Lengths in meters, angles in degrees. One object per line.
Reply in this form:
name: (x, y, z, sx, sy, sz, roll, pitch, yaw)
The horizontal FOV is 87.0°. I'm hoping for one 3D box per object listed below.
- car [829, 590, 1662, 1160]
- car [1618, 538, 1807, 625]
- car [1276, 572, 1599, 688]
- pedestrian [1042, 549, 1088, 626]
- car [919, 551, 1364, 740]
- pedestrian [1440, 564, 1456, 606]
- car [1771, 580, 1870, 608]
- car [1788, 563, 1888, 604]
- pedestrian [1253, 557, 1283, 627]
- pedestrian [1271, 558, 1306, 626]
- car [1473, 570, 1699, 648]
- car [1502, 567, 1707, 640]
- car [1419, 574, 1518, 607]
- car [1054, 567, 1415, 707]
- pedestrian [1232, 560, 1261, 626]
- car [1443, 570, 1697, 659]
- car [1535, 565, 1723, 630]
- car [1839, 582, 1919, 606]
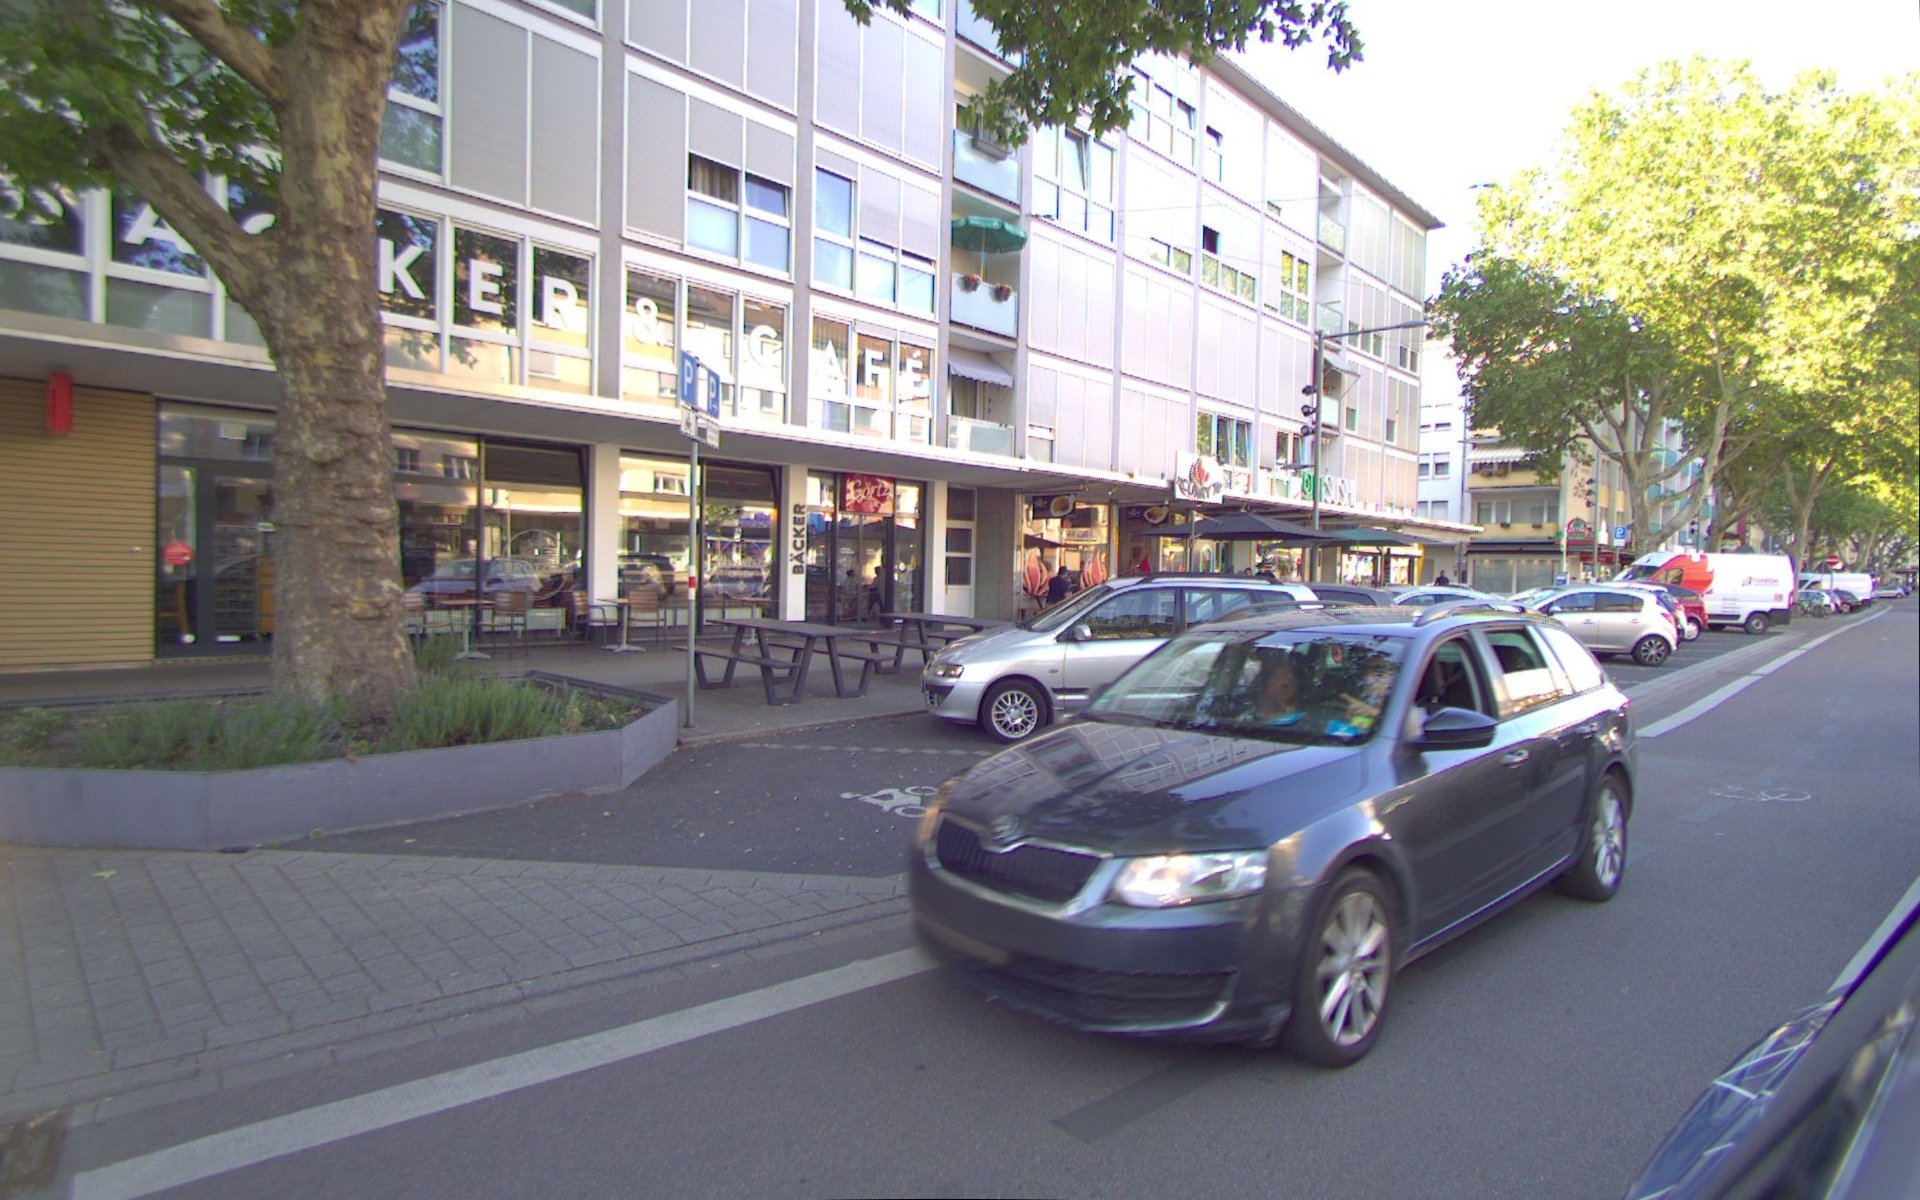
car: (1.609, 0.694, 4.659, 4.155, 1.470, 1.727, -1, 1, -41)
car: (23.737, -0.581, 32.056, 4.514, 2.525, 1.675, 2, 0, 5)
car: (6.844, 0.392, 14.783, 3.867, 1.418, 1.598, 2, 3, 1)
pedestrian: (2.225, -0.272, 21.411, 0.757, 1.602, 0.583, 0, 2, -39)
car: (1.594, 0.376, 9.844, 3.906, 1.560, 1.679, 2, 3, -3)
pedestrian: (20.126, -0.623, 41.742, 0.473, 1.751, 0.347, 1, 1, 11)
car: (48.123, -0.348, 56.644, 3.864, 1.422, 1.782, 1, 2, 3)
car: (56.461, -1.073, 65.162, 4.512, 2.499, 1.977, 1, 2, 3)
pedestrian: (7.812, -0.204, 25.700, 0.544, 1.741, 0.450, 2, 2, 45)
pedestrian: (7.866, -0.204, 24.225, 0.559, 1.596, 0.632, 2, 2, 44)
car: (13.904, 0.152, 22.729, 3.886, 1.446, 1.670, 3, 3, 16)
car: (15.897, 0.049, 25.198, 3.888, 1.445, 1.669, 4, 5, 17)
car: (24.910, -0.488, 49.624, 3.984, 1.437, 1.970, 3, 2, 41)
car: (3.222, 0.399, 12.382, 3.864, 1.446, 1.679, 2, 3, -3)
pedestrian: (7.363, -0.187, 26.035, 0.536, 1.660, 0.470, 2, 2, 45)
car: (11.833, 0.242, 19.820, 3.871, 1.446, 1.559, 3, 3, 4)
car: (18.136, -0.119, 27.651, 3.894, 1.445, 1.667, 4, 5, 21)
car: (56.551, -0.383, 61.916, 3.864, 1.350, 1.782, 1, 2, 3)
